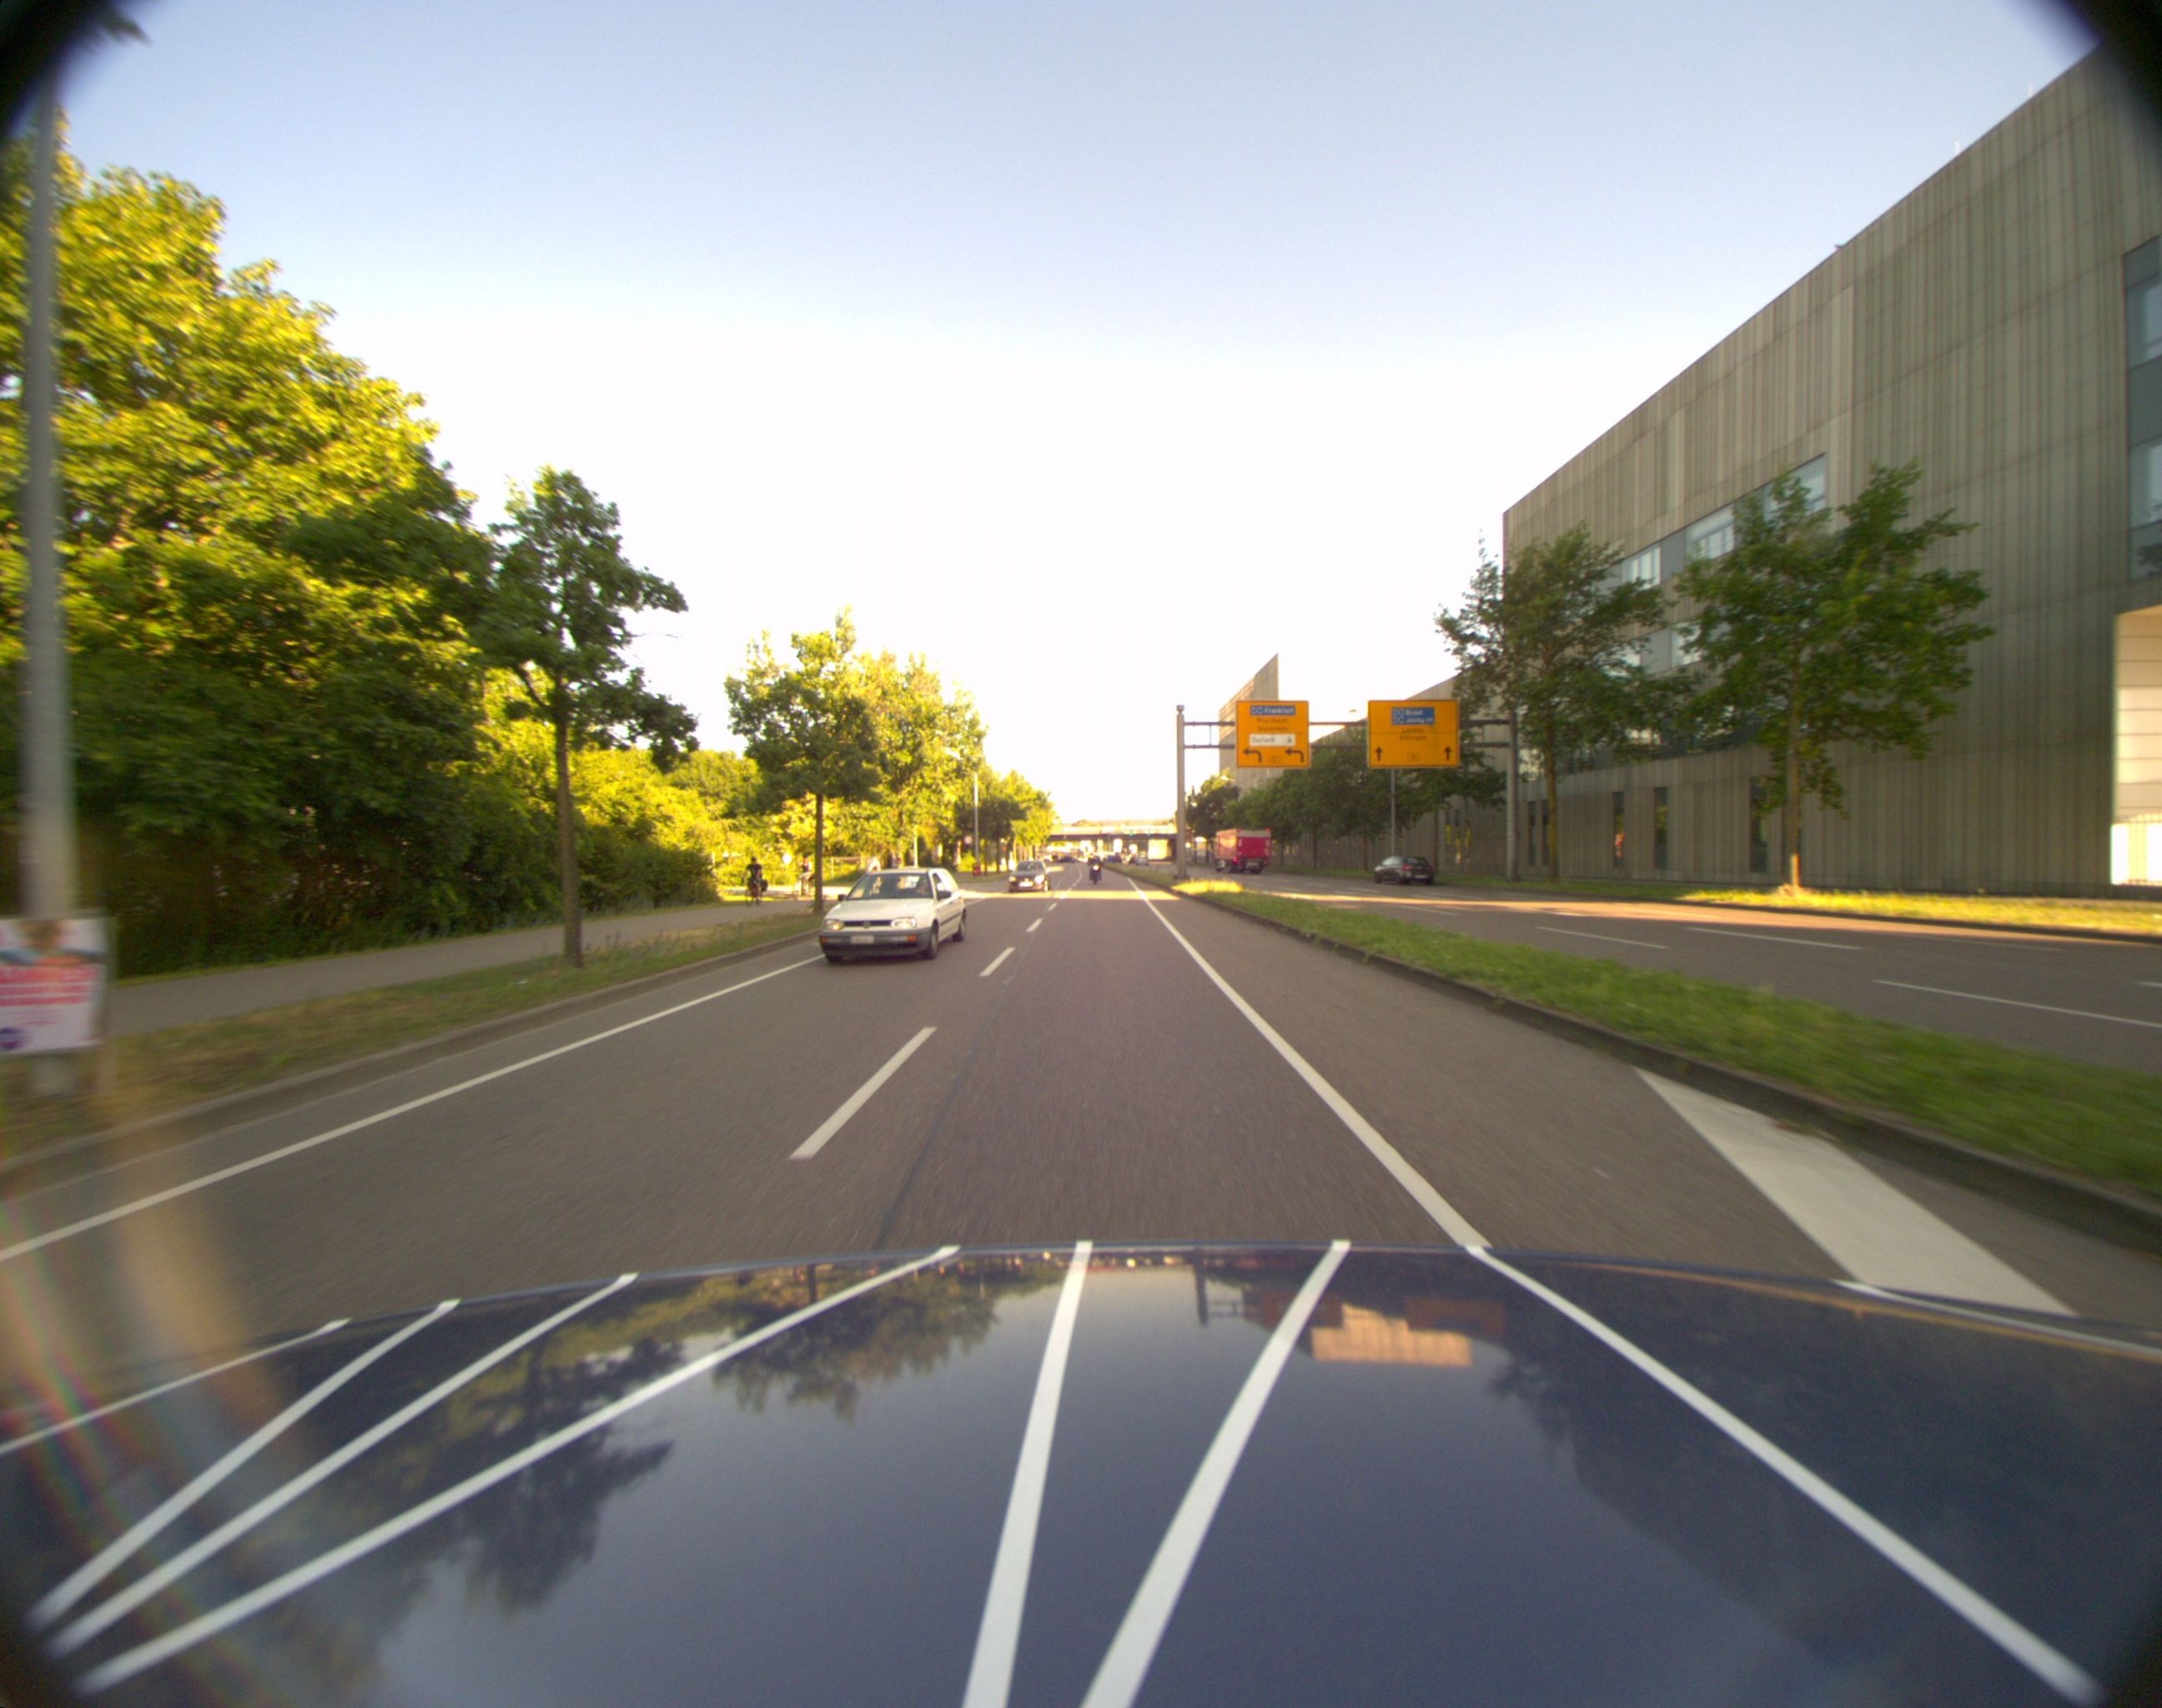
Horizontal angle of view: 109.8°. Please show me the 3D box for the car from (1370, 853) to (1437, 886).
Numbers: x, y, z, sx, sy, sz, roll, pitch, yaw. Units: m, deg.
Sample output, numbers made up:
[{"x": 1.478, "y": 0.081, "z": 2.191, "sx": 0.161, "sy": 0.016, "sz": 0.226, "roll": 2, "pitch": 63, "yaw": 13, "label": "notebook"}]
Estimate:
[{"x": 15.975, "y": 0.737, "z": 37.837, "sx": 1.600, "sy": 1.504, "sz": 3.866, "roll": -1, "pitch": 0, "yaw": -2, "label": "car"}]

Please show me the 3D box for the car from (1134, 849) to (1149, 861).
[{"x": 9.100, "y": 0.117, "z": 114.217, "sx": 1.998, "sy": 1.805, "sz": 4.401, "roll": 0, "pitch": 0, "yaw": 1, "label": "car"}]

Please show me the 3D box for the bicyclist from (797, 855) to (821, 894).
[{"x": -11.011, "y": 0.817, "z": 30.745, "sx": 0.604, "sy": 1.569, "sz": 0.848, "roll": -1, "pitch": 1, "yaw": 1, "label": "bicyclist"}]

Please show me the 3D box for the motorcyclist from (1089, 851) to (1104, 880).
[{"x": 0.829, "y": 0.601, "z": 40.864, "sx": 0.734, "sy": 1.503, "sz": 0.919, "roll": 0, "pitch": 1, "yaw": -2, "label": "motorcyclist"}]

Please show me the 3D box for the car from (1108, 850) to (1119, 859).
[{"x": 5.906, "y": 0.064, "z": 138.681, "sx": 1.841, "sy": 1.510, "sz": 3.951, "roll": 0, "pitch": 0, "yaw": -1, "label": "car"}]

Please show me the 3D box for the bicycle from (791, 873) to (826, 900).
[{"x": -11.008, "y": 1.307, "z": 30.769, "sx": 0.618, "sy": 0.968, "sz": 2.058, "roll": -1, "pitch": 0, "yaw": 1, "label": "bicycle"}]

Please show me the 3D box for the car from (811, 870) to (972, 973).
[{"x": -3.008, "y": 1.017, "z": 12.914, "sx": 1.615, "sy": 1.390, "sz": 4.039, "roll": -2, "pitch": -1, "yaw": 1, "label": "car"}]

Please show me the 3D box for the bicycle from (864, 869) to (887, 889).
[{"x": -10.958, "y": 1.338, "z": 40.511, "sx": 0.618, "sy": 0.968, "sz": 2.058, "roll": -1, "pitch": 0, "yaw": 1, "label": "bicycle"}]

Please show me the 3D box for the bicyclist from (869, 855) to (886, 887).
[{"x": -10.955, "y": 0.911, "z": 40.926, "sx": 0.604, "sy": 1.723, "sz": 0.848, "roll": -1, "pitch": 1, "yaw": 1, "label": "bicyclist"}]

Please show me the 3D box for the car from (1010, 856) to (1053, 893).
[{"x": -2.180, "y": 0.905, "z": 34.609, "sx": 1.726, "sy": 1.490, "sz": 4.214, "roll": -2, "pitch": -1, "yaw": -1, "label": "car"}]

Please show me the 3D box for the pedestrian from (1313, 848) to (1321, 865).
[{"x": 24.742, "y": 0.237, "z": 79.761, "sx": 0.604, "sy": 1.757, "sz": 0.649, "roll": -1, "pitch": 1, "yaw": 1, "label": "pedestrian"}]

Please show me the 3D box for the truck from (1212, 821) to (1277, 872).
[{"x": 13.081, "y": -0.576, "z": 61.838, "sx": 3.006, "sy": 3.789, "sz": 10.087, "roll": -1, "pitch": 0, "yaw": -1, "label": "truck"}]

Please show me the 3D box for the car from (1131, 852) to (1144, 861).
[{"x": 9.695, "y": 0.436, "z": 130.954, "sx": 1.930, "sy": 1.510, "sz": 4.000, "roll": 0, "pitch": 0, "yaw": 0, "label": "car"}]

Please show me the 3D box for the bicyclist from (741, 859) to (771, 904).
[{"x": -11.031, "y": 0.925, "z": 25.796, "sx": 0.614, "sy": 1.493, "sz": 0.848, "roll": -1, "pitch": 1, "yaw": 1, "label": "bicyclist"}]

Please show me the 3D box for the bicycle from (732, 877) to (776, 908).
[{"x": -11.031, "y": 1.282, "z": 25.684, "sx": 0.618, "sy": 0.968, "sz": 1.822, "roll": -1, "pitch": 0, "yaw": 1, "label": "bicycle"}]

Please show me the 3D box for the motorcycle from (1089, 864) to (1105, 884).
[{"x": 0.850, "y": 1.060, "z": 40.273, "sx": 0.749, "sy": 0.977, "sz": 2.140, "roll": -1, "pitch": 1, "yaw": -1, "label": "motorcycle"}]
